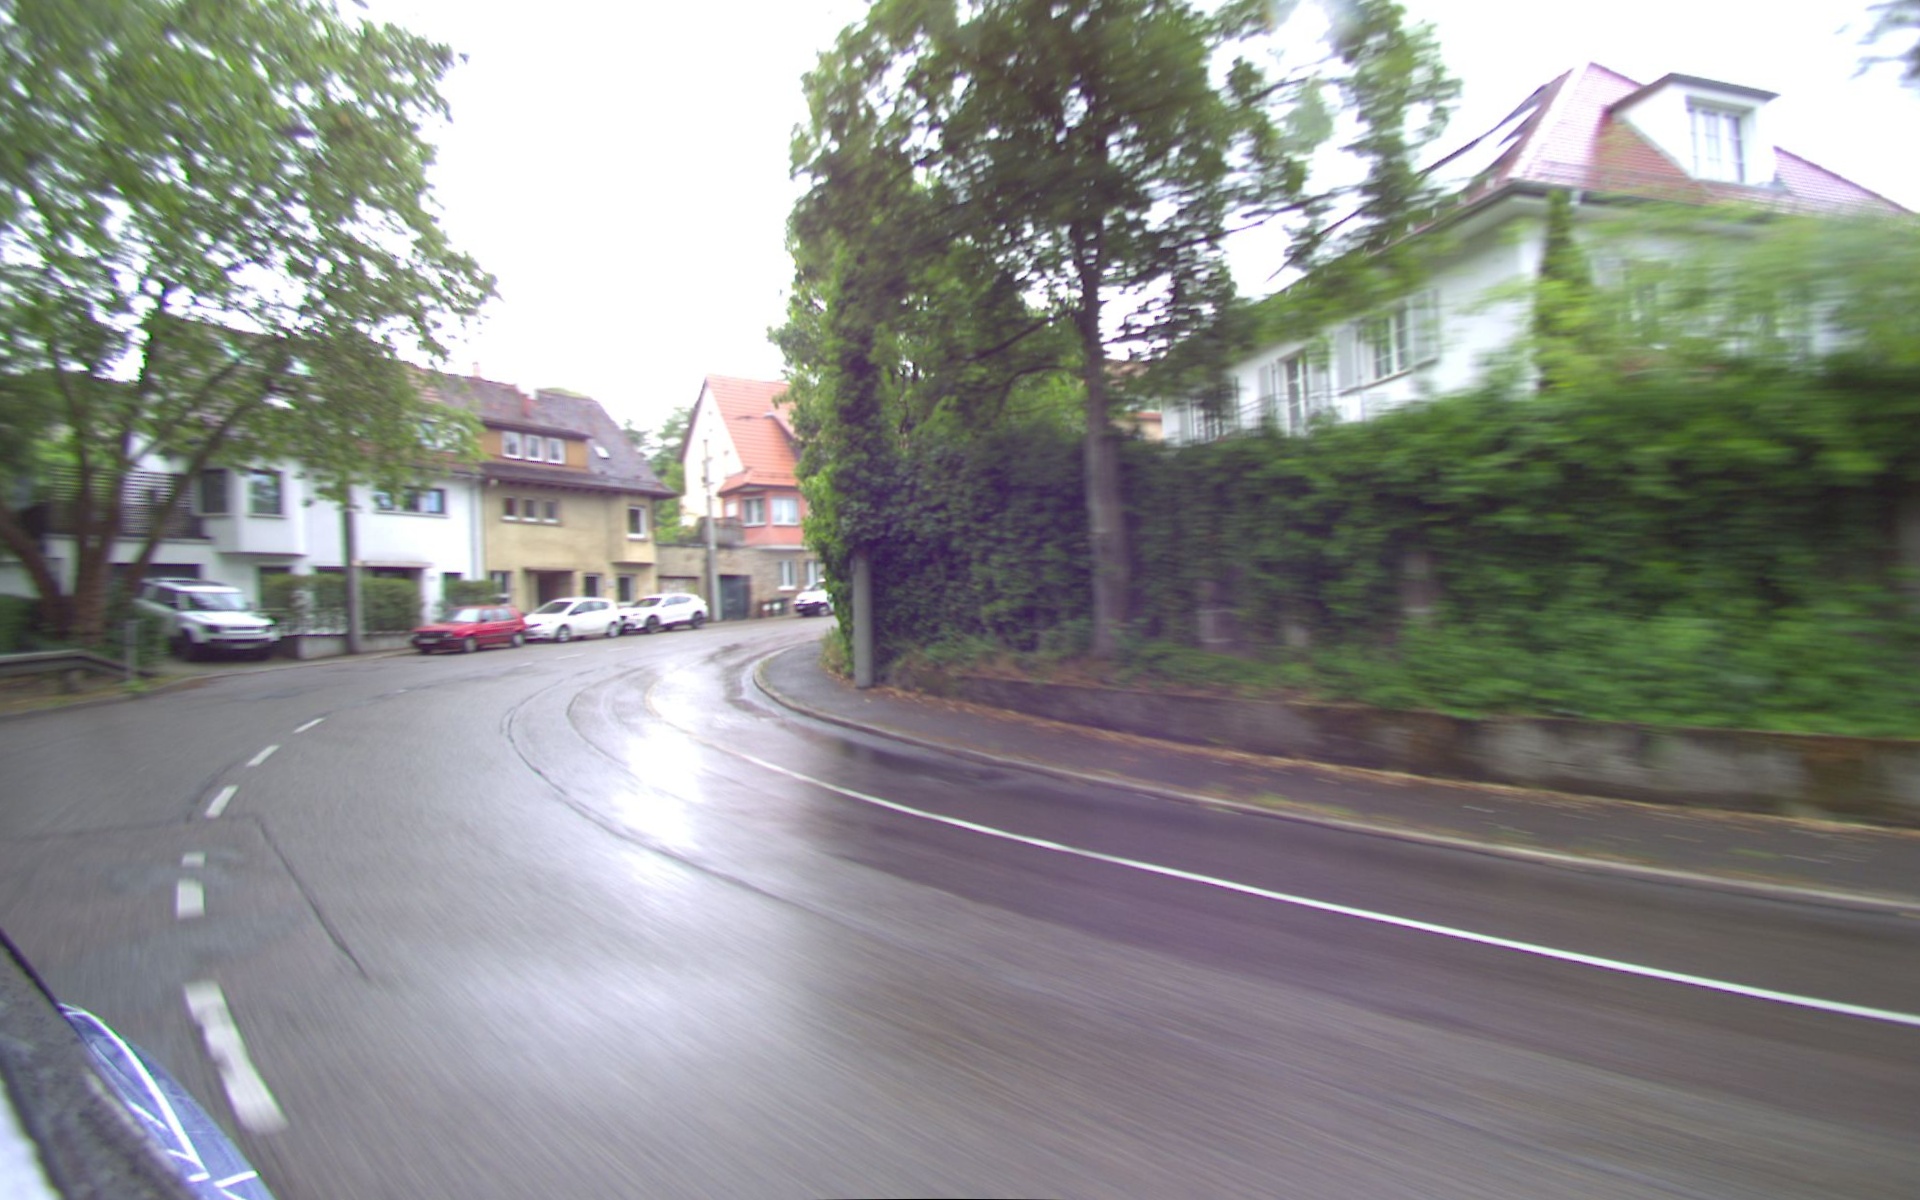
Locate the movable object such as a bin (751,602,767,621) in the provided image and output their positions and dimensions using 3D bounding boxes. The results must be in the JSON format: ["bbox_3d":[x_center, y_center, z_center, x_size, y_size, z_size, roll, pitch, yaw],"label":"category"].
[{"bbox_3d":[-9.828,0.564,49.550,0.504,0.929,0.583,-4,2,-38],"label":"movable object such as a bin"}]

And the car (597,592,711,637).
[{"bbox_3d":[-12.155,0.546,40.511,1.909,1.550,4.377,-2,1,25],"label":"car"}]

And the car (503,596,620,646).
[{"bbox_3d":[-14.131,0.710,36.062,1.757,1.526,3.798,-3,1,20],"label":"car"}]

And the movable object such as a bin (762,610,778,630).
[{"bbox_3d":[-9.368,0.968,49.922,0.504,0.929,0.583,-4,2,-38],"label":"movable object such as a bin"}]

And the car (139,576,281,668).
[{"bbox_3d":[-20.520,0.507,27.630,4.405,1.856,1.975,9,6,37],"label":"car"}]

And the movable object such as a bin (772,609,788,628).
[{"bbox_3d":[-8.923,0.915,50.244,0.504,0.929,0.583,-4,2,-38],"label":"movable object such as a bin"}]

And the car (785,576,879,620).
[{"bbox_3d":[-6.187,-0.103,49.155,4.263,1.804,1.712,-5,-1,-45],"label":"car"}]

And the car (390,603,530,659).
[{"bbox_3d":[-15.295,0.912,31.222,1.765,1.377,4.186,-3,1,8],"label":"car"}]
